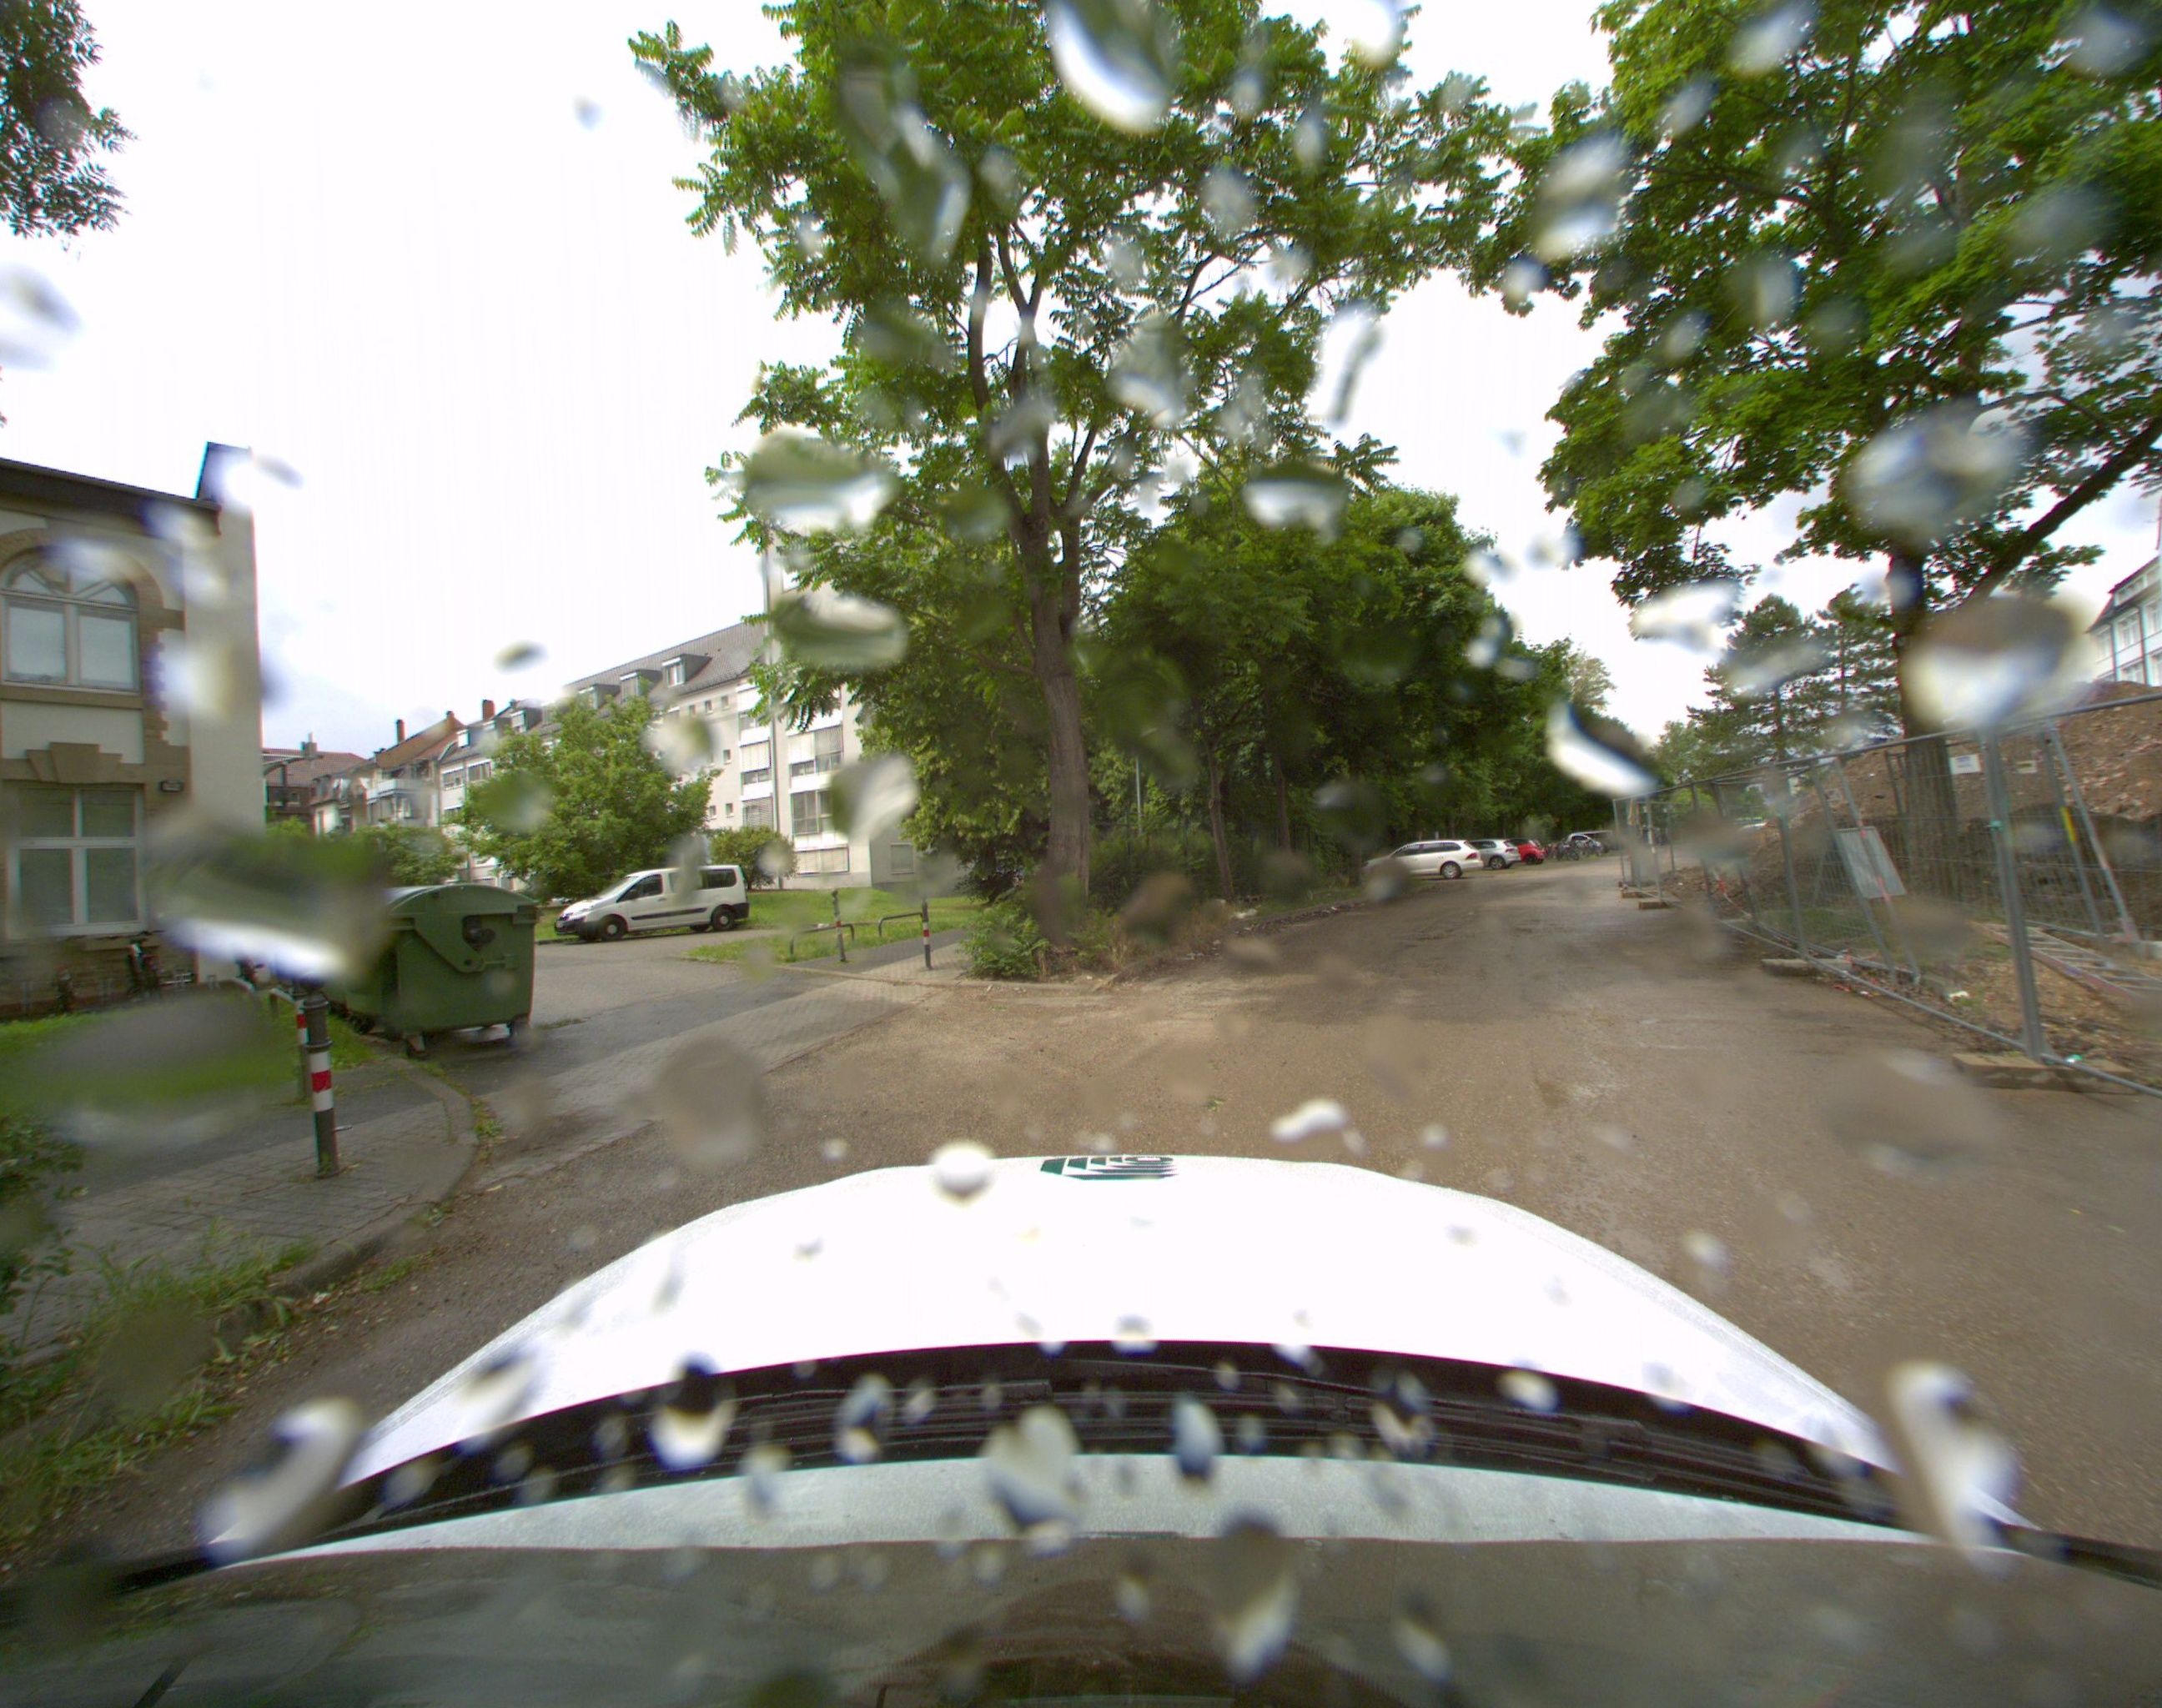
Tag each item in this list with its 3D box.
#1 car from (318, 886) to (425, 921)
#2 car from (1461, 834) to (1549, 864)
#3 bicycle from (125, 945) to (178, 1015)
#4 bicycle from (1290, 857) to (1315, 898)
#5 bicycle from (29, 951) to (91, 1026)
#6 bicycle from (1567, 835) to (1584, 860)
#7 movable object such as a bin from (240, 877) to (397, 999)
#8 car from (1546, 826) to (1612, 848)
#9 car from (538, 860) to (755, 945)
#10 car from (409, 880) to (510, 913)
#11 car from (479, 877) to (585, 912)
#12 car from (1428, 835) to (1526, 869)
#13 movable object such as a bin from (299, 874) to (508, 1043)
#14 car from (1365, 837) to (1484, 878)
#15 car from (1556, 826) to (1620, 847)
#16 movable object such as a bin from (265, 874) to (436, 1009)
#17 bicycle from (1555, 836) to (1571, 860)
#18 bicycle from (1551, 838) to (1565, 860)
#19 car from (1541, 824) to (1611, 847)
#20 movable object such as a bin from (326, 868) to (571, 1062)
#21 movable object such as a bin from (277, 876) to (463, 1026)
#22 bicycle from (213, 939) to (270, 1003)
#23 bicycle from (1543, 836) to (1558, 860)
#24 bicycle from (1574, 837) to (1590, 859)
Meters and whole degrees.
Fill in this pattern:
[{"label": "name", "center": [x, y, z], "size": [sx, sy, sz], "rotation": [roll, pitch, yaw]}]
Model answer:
[{"label": "car", "center": [-46.166, 3.180, 53.092], "size": [2.083, 1.833, 4.756], "rotation": [-4, 0, 33]}, {"label": "car", "center": [22.509, -0.221, 43.243], "size": [3.996, 1.409, 1.994], "rotation": [-2, -2, 29]}, {"label": "bicycle", "center": [-13.235, 1.755, 11.583], "size": [2.030, 0.799, 0.456], "rotation": [-3, -2, 40]}, {"label": "bicycle", "center": [5.239, 0.543, 19.228], "size": [0.463, 0.879, 1.577], "rotation": [-2, 0, 17]}, {"label": "bicycle", "center": [-13.649, 1.767, 10.908], "size": [2.030, 0.799, 0.456], "rotation": [-3, -2, 40]}, {"label": "bicycle", "center": [27.643, -0.355, 45.554], "size": [0.590, 1.308, 2.685], "rotation": [-2, -2, 28]}, {"label": "movable object such as a bin", "center": [-10.288, 1.070, 10.996], "size": [1.348, 1.471, 1.372], "rotation": [-3, -2, 39]}, {"label": "car", "center": [37.707, -1.283, 61.728], "size": [3.995, 1.409, 1.994], "rotation": [-3, -2, 39]}, {"label": "car", "center": [-12.140, 1.294, 23.045], "size": [1.974, 2.014, 4.983], "rotation": [-4, -2, 43]}, {"label": "car", "center": [-35.004, 2.365, 45.946], "size": [1.809, 1.455, 4.138], "rotation": [-4, 0, 35]}, {"label": "car", "center": [-27.703, 2.020, 41.188], "size": [1.768, 1.354, 4.026], "rotation": [-4, 1, 39]}, {"label": "car", "center": [18.799, -0.058, 38.684], "size": [3.996, 1.409, 1.994], "rotation": [-2, -2, 29]}, {"label": "movable object such as a bin", "center": [-6.852, 0.966, 8.242], "size": [1.446, 1.471, 1.372], "rotation": [-3, -2, 39]}, {"label": "car", "center": [13.247, 0.170, 31.448], "size": [3.996, 1.409, 1.994], "rotation": [-2, -2, 29]}, {"label": "car", "center": [39.641, -1.323, 63.663], "size": [3.995, 1.409, 1.994], "rotation": [-3, -2, 39]}, {"label": "movable object such as a bin", "center": [-9.008, 1.013, 10.050], "size": [1.348, 1.471, 1.372], "rotation": [-3, -2, 39]}, {"label": "bicycle", "center": [27.103, -0.316, 45.818], "size": [0.590, 1.267, 2.685], "rotation": [-2, -2, 28]}, {"label": "bicycle", "center": [29.038, -0.304, 49.576], "size": [0.590, 1.308, 2.685], "rotation": [-2, -2, 28]}, {"label": "car", "center": [35.277, -1.312, 58.075], "size": [3.995, 1.409, 1.994], "rotation": [-3, -2, 39]}, {"label": "movable object such as a bin", "center": [-5.652, 0.885, 7.288], "size": [1.540, 1.471, 1.422], "rotation": [-3, -2, 39]}, {"label": "movable object such as a bin", "center": [-7.982, 1.014, 9.157], "size": [1.334, 1.471, 1.372], "rotation": [-3, -2, 39]}, {"label": "bicycle", "center": [-12.627, 1.721, 12.228], "size": [2.030, 0.799, 0.456], "rotation": [-3, -2, 40]}, {"label": "bicycle", "center": [26.562, -0.313, 46.095], "size": [0.590, 1.308, 2.685], "rotation": [-2, -2, 28]}, {"label": "bicycle", "center": [30.131, -0.348, 48.970], "size": [0.590, 1.308, 2.685], "rotation": [-2, -2, 28]}]
